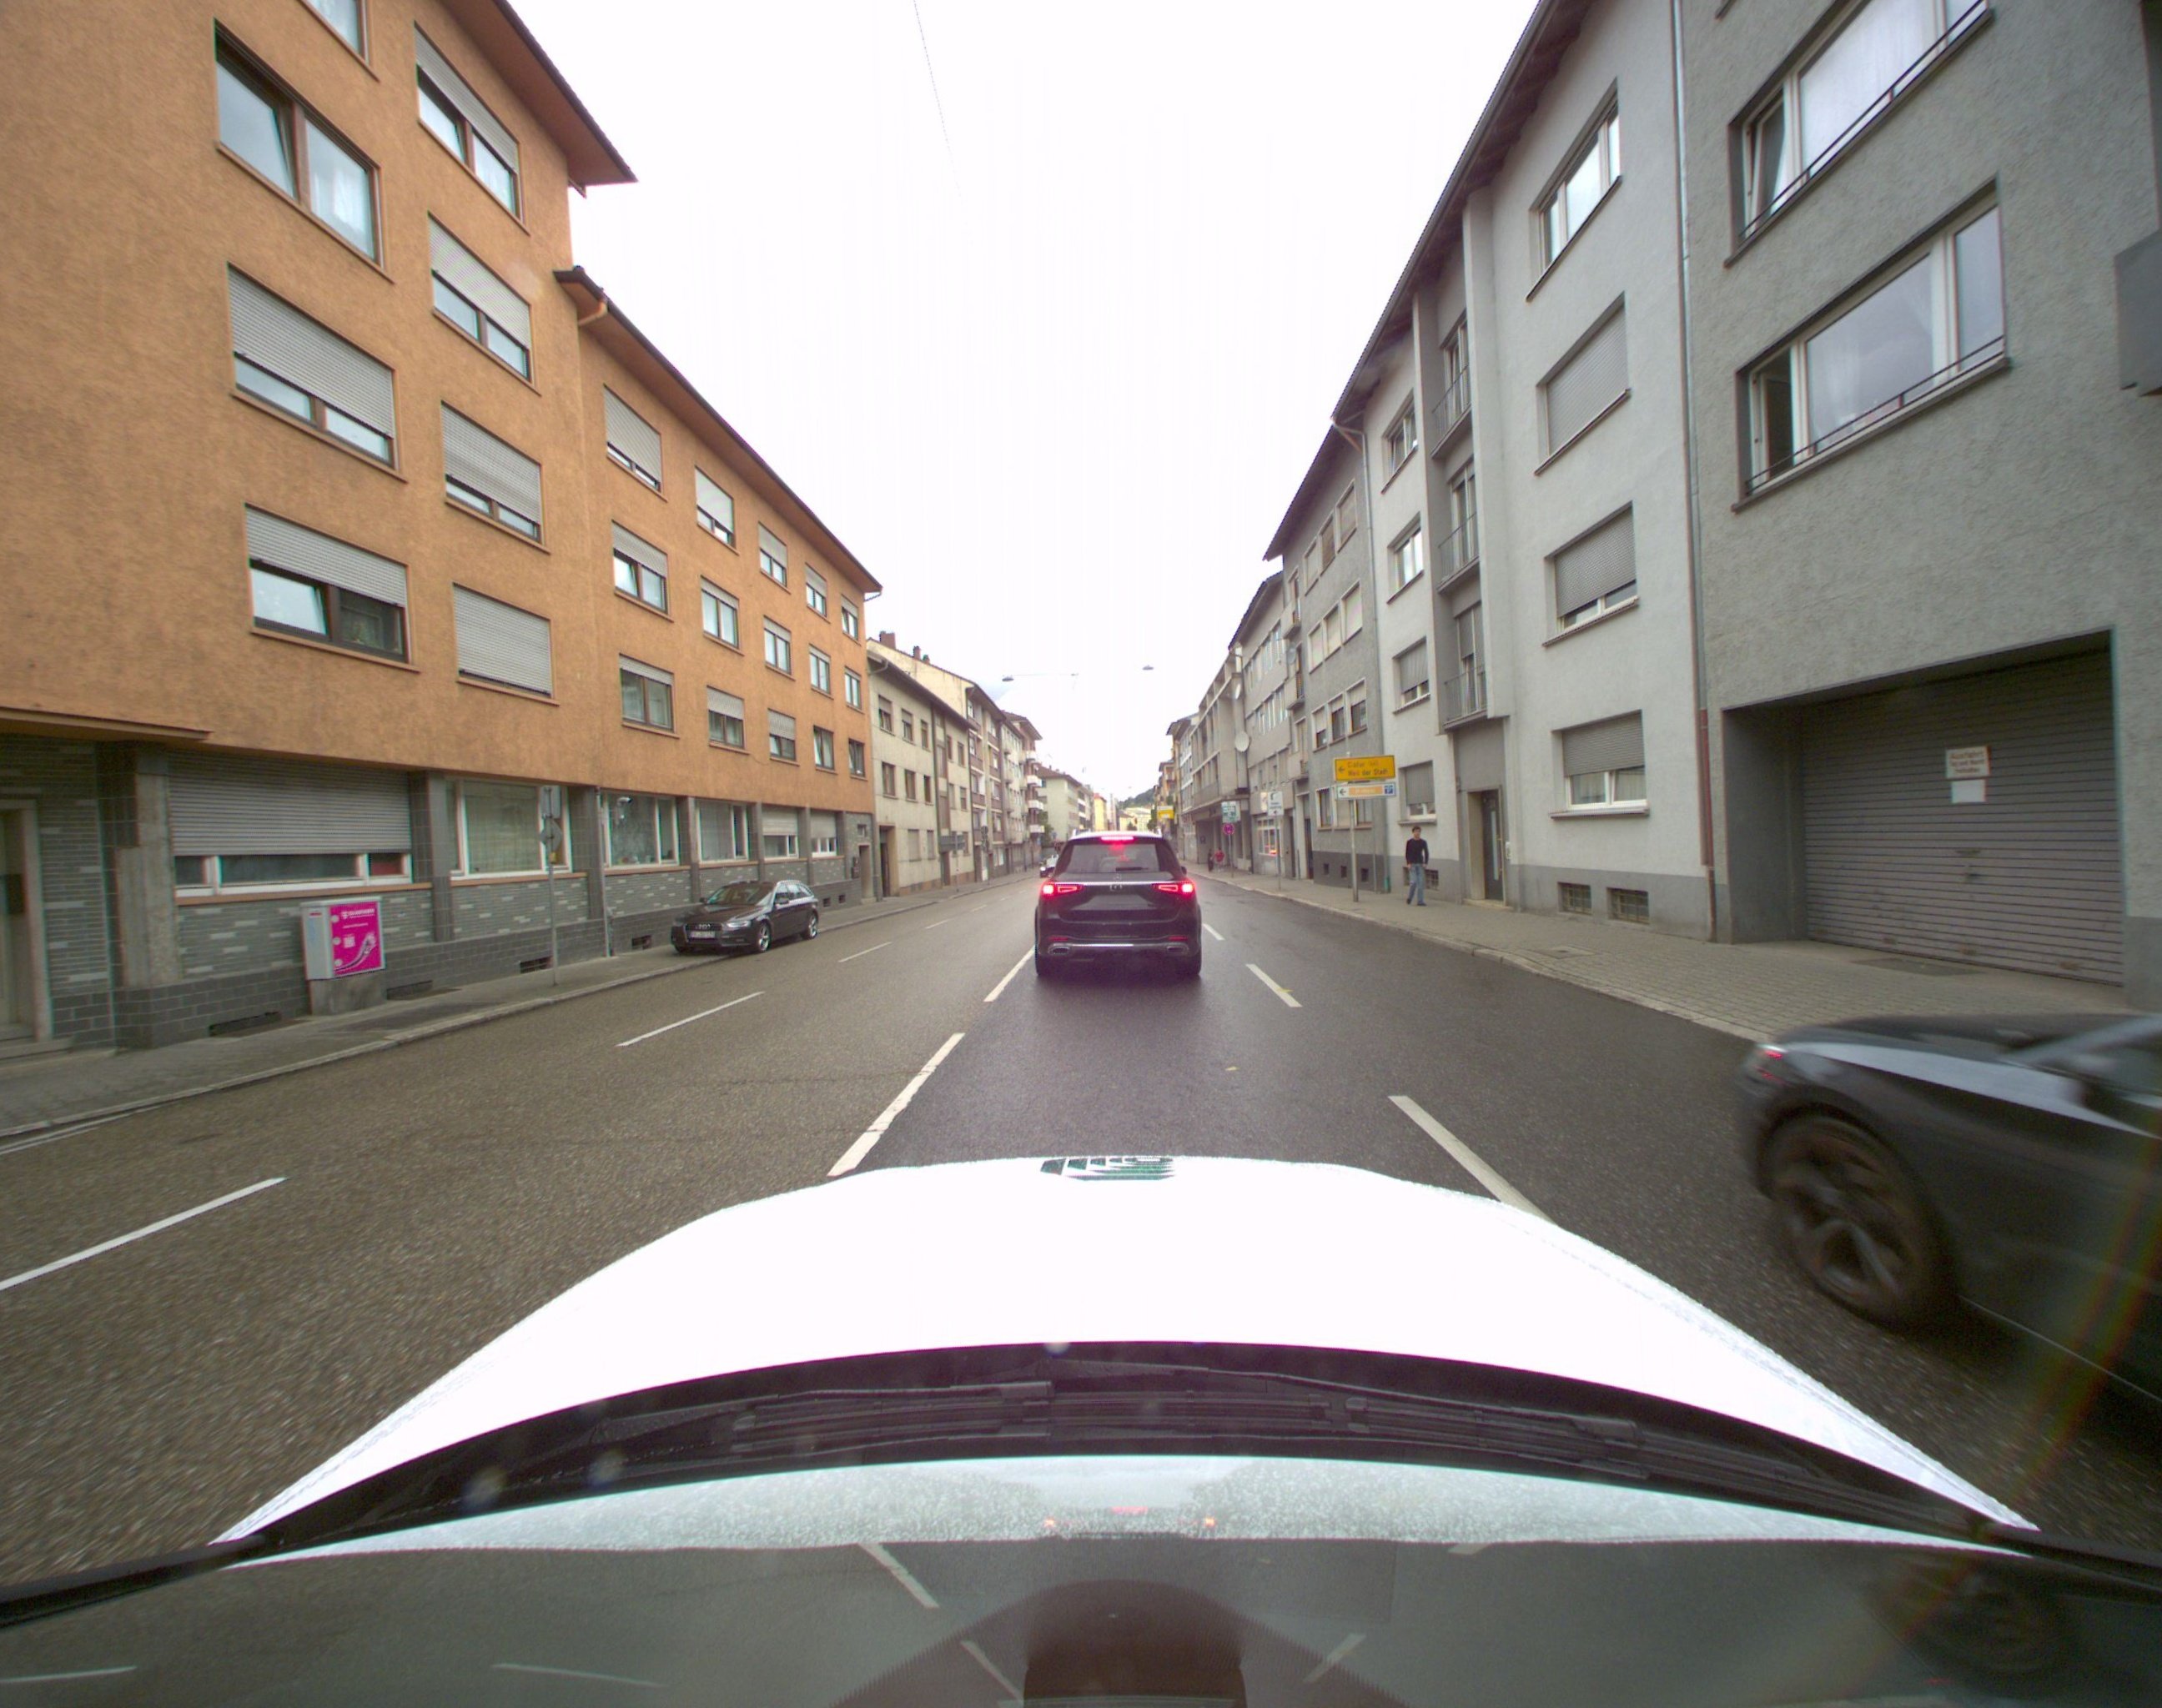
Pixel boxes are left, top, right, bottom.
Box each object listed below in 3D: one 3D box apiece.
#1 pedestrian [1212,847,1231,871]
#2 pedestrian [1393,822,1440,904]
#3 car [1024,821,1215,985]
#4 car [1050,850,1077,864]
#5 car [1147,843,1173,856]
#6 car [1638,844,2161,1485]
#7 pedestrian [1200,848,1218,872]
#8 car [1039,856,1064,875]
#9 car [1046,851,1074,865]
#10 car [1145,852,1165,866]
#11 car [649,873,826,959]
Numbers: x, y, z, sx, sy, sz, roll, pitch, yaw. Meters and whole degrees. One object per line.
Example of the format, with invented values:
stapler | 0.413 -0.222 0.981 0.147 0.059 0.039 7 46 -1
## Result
pedestrian | 9.322 0.333 53.956 0.813 1.565 0.905 -1 0 40
pedestrian | 7.489 0.191 18.213 0.652 1.752 0.743 -5 0 7
car | 0.494 0.517 11.352 2.068 1.765 4.613 -2 1 1
car | -2.737 0.500 128.908 3.968 2.013 2.003 -2 0 5
car | 12.461 -0.708 128.675 3.968 2.013 2.003 -2 0 5
car | 3.246 0.699 1.255 1.728 1.388 4.584 -2 1 2
pedestrian | 8.485 0.369 53.973 0.823 1.565 0.894 -2 0 -17
car | -2.460 0.950 68.786 1.884 1.458 4.550 -2 1 1
car | -3.225 0.567 123.338 3.968 2.013 2.003 -2 0 5
car | 7.463 0.489 82.453 1.728 1.388 4.584 -2 1 2
car | -7.396 1.265 18.101 1.884 1.458 4.550 -2 1 1
